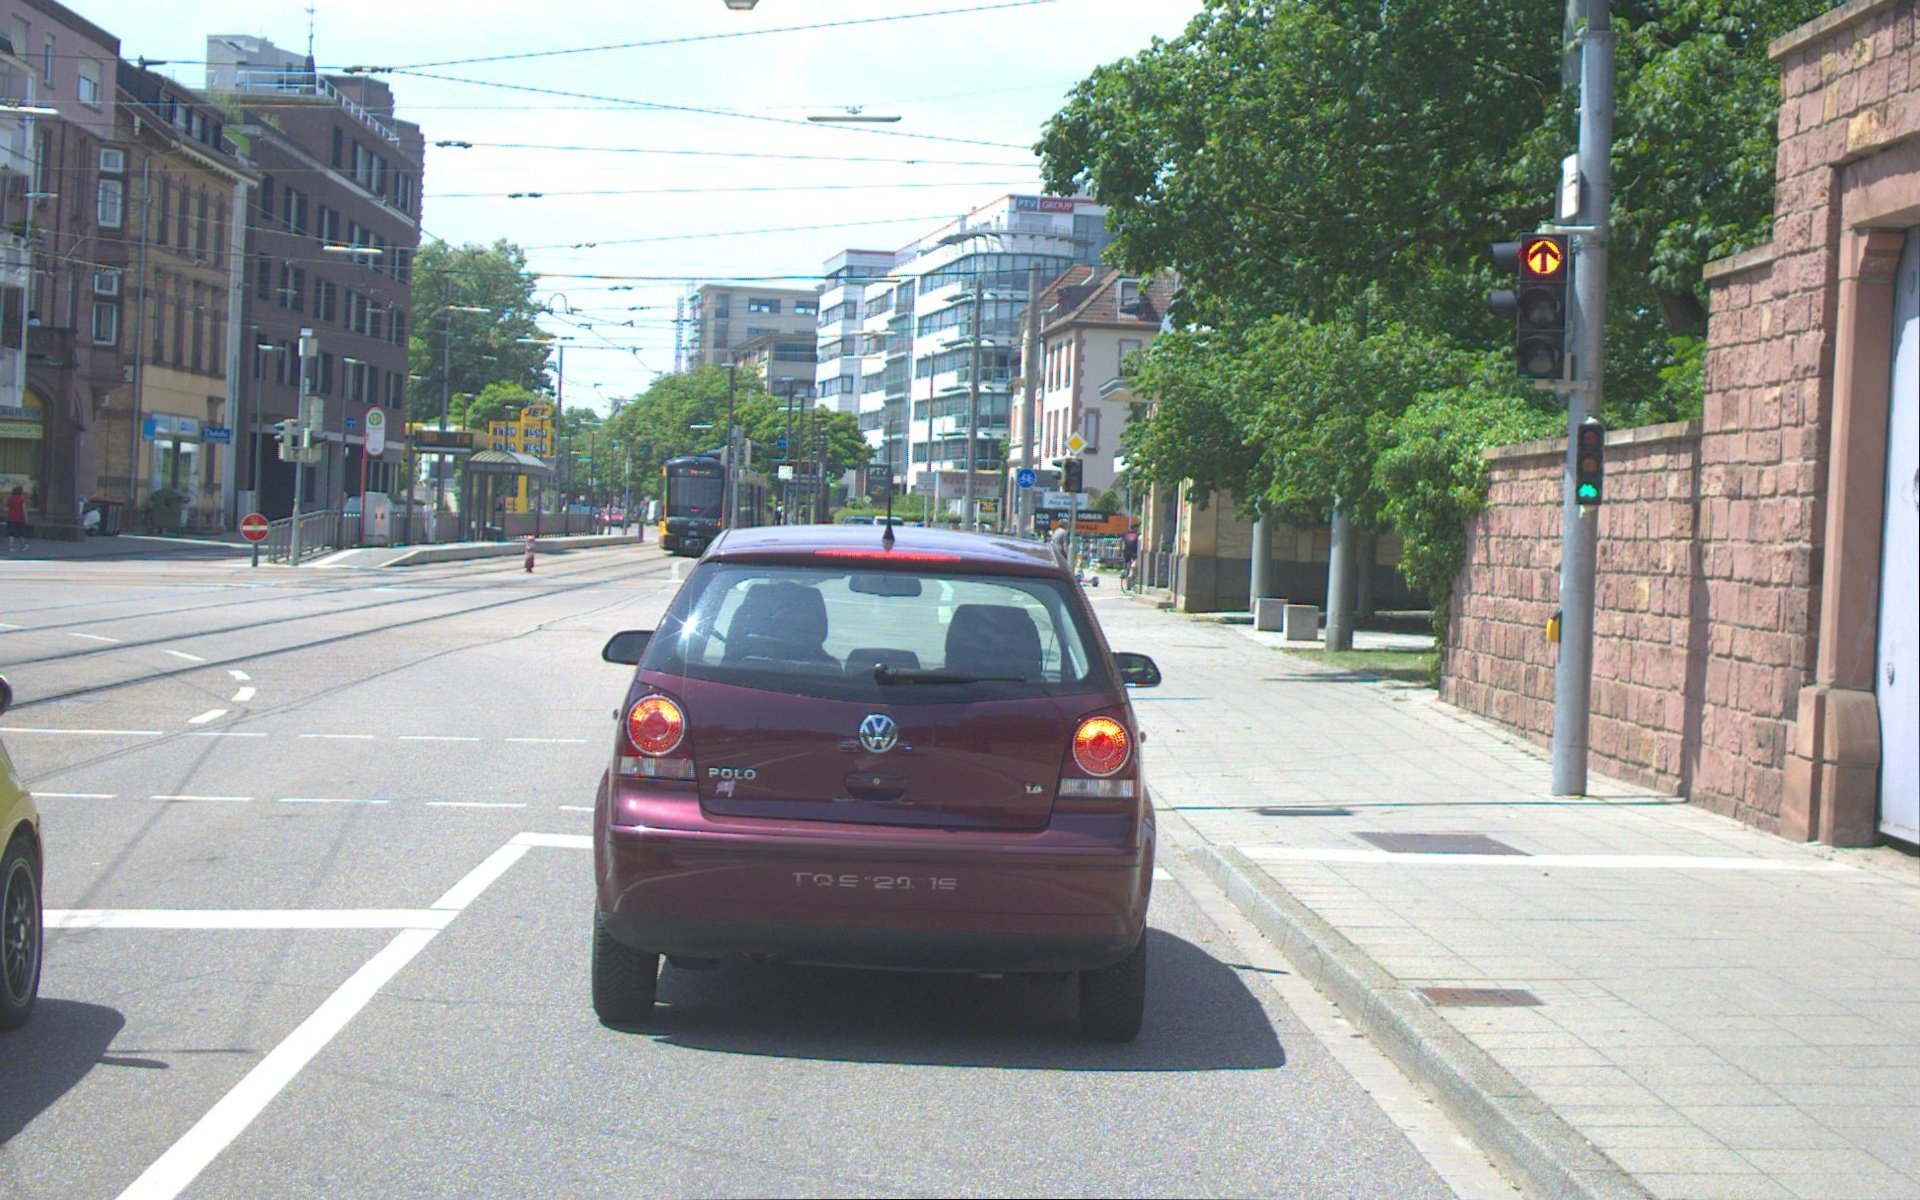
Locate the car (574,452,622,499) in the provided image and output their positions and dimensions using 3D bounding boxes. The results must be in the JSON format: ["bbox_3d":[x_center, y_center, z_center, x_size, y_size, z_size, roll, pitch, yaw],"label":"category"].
[{"bbox_3d":[-16.560,-5.691,157.400,1.735,2.007,4.000,2,1,-1],"label":"car"}]

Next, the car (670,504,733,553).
[{"bbox_3d":[-9.021,-2.475,120.147,1.938,1.635,4.000,1,1,-1],"label":"car"}]

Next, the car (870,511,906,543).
[{"bbox_3d":[-3.199,-3.230,152.086,1.572,1.411,3.720,0,1,-1],"label":"car"}]

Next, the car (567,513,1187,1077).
[{"bbox_3d":[-0.277,0.477,11.320,1.610,1.458,4.086,2,1,-2],"label":"car"}]

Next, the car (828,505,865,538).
[{"bbox_3d":[-5.766,-3.956,174.015,1.780,1.617,4.000,1,1,-3],"label":"car"}]

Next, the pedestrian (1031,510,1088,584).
[{"bbox_3d":[2.290,-1.220,79.127,0.981,1.655,0.919,2,1,-18],"label":"pedestrian"}]

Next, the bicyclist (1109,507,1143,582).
[{"bbox_3d":[4.055,-1.348,84.019,0.721,1.812,0.888,1,0,-1],"label":"bicyclist"}]

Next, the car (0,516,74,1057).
[{"bbox_3d":[-3.408,0.526,8.351,1.723,1.440,3.293,1,2,-1],"label":"car"}]

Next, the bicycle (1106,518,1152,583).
[{"bbox_3d":[4.079,-1.195,83.243,0.835,1.520,4.000,1,1,-1],"label":"bicycle"}]

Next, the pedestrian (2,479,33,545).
[{"bbox_3d":[-22.012,-2.057,80.308,0.484,1.535,0.538,1,0,14],"label":"pedestrian"}]
